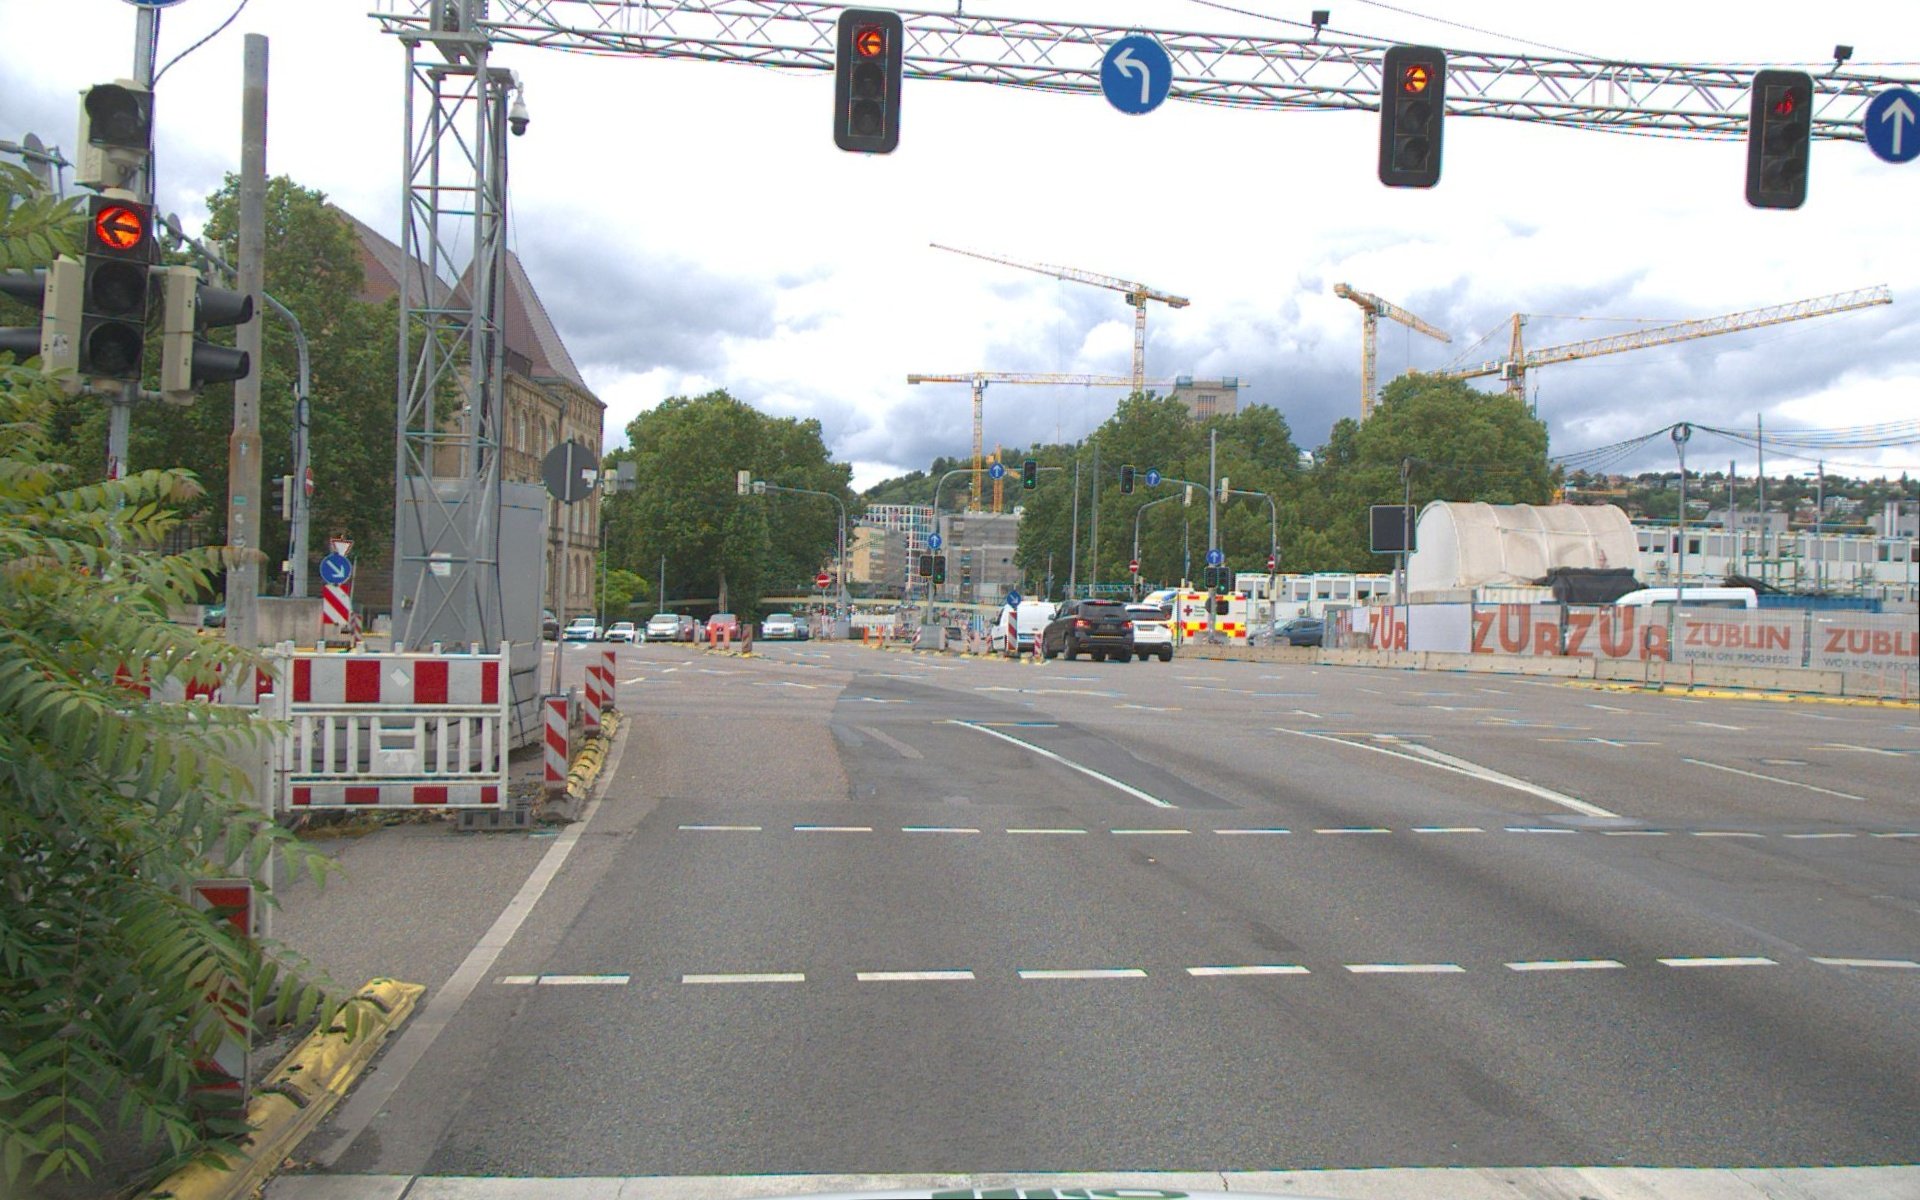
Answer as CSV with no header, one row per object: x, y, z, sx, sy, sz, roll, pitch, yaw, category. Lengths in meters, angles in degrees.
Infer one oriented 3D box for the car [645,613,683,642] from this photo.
-15.258,1.425,85.368,1.644,1.422,3.677,1,0,-7,car

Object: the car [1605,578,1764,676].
20.820,0.751,47.670,3.902,2.708,1.683,1,0,13,car

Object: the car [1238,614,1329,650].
15.617,1.531,79.894,3.927,1.653,1.812,1,0,-20,car

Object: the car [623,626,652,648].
-22.461,2.595,115.310,1.644,1.422,3.677,1,0,-7,car

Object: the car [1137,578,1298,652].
11.227,0.673,72.197,6.636,3.105,2.359,1,0,-19,car

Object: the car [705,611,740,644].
-12.126,1.383,84.507,1.644,1.608,3.677,1,0,-7,car

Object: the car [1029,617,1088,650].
4.509,1.513,76.028,1.650,1.422,3.070,1,0,-19,car

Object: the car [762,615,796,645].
-9.300,1.527,84.896,1.644,1.422,3.677,1,0,-7,car

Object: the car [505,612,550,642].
-21.712,1.321,83.104,1.644,1.422,3.677,1,0,-7,car

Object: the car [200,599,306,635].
-28.814,0.691,67.478,3.655,1.423,1.654,1,-1,-45,car

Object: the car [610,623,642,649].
-21.666,2.324,107.353,1.643,1.422,3.679,2,1,-5,car

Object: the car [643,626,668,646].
-23.386,2.761,127.069,1.644,1.422,3.677,1,0,-7,car

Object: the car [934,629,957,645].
-1.120,2.804,125.145,1.284,1.093,3.676,1,0,-8,car

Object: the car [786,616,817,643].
-8.820,1.642,91.834,1.644,1.422,3.677,1,0,-7,car

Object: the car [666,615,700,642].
-15.298,1.553,91.527,1.644,1.422,3.677,1,0,-7,car

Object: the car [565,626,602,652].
-21.455,2.213,94.389,1.644,1.422,3.677,1,0,-7,car

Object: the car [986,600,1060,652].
2.077,0.854,55.539,1.783,1.653,3.993,1,0,-8,car

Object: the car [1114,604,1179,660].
6.029,1.003,53.718,1.642,1.732,3.374,1,0,-1,car

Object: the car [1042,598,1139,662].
3.775,0.844,48.519,1.799,1.776,4.245,1,0,-10,car

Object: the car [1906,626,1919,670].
34.831,1.729,58.505,1.641,1.554,4.001,1,0,20,car

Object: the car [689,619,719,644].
-15.773,1.943,101.899,1.644,1.422,3.677,1,0,-7,car
